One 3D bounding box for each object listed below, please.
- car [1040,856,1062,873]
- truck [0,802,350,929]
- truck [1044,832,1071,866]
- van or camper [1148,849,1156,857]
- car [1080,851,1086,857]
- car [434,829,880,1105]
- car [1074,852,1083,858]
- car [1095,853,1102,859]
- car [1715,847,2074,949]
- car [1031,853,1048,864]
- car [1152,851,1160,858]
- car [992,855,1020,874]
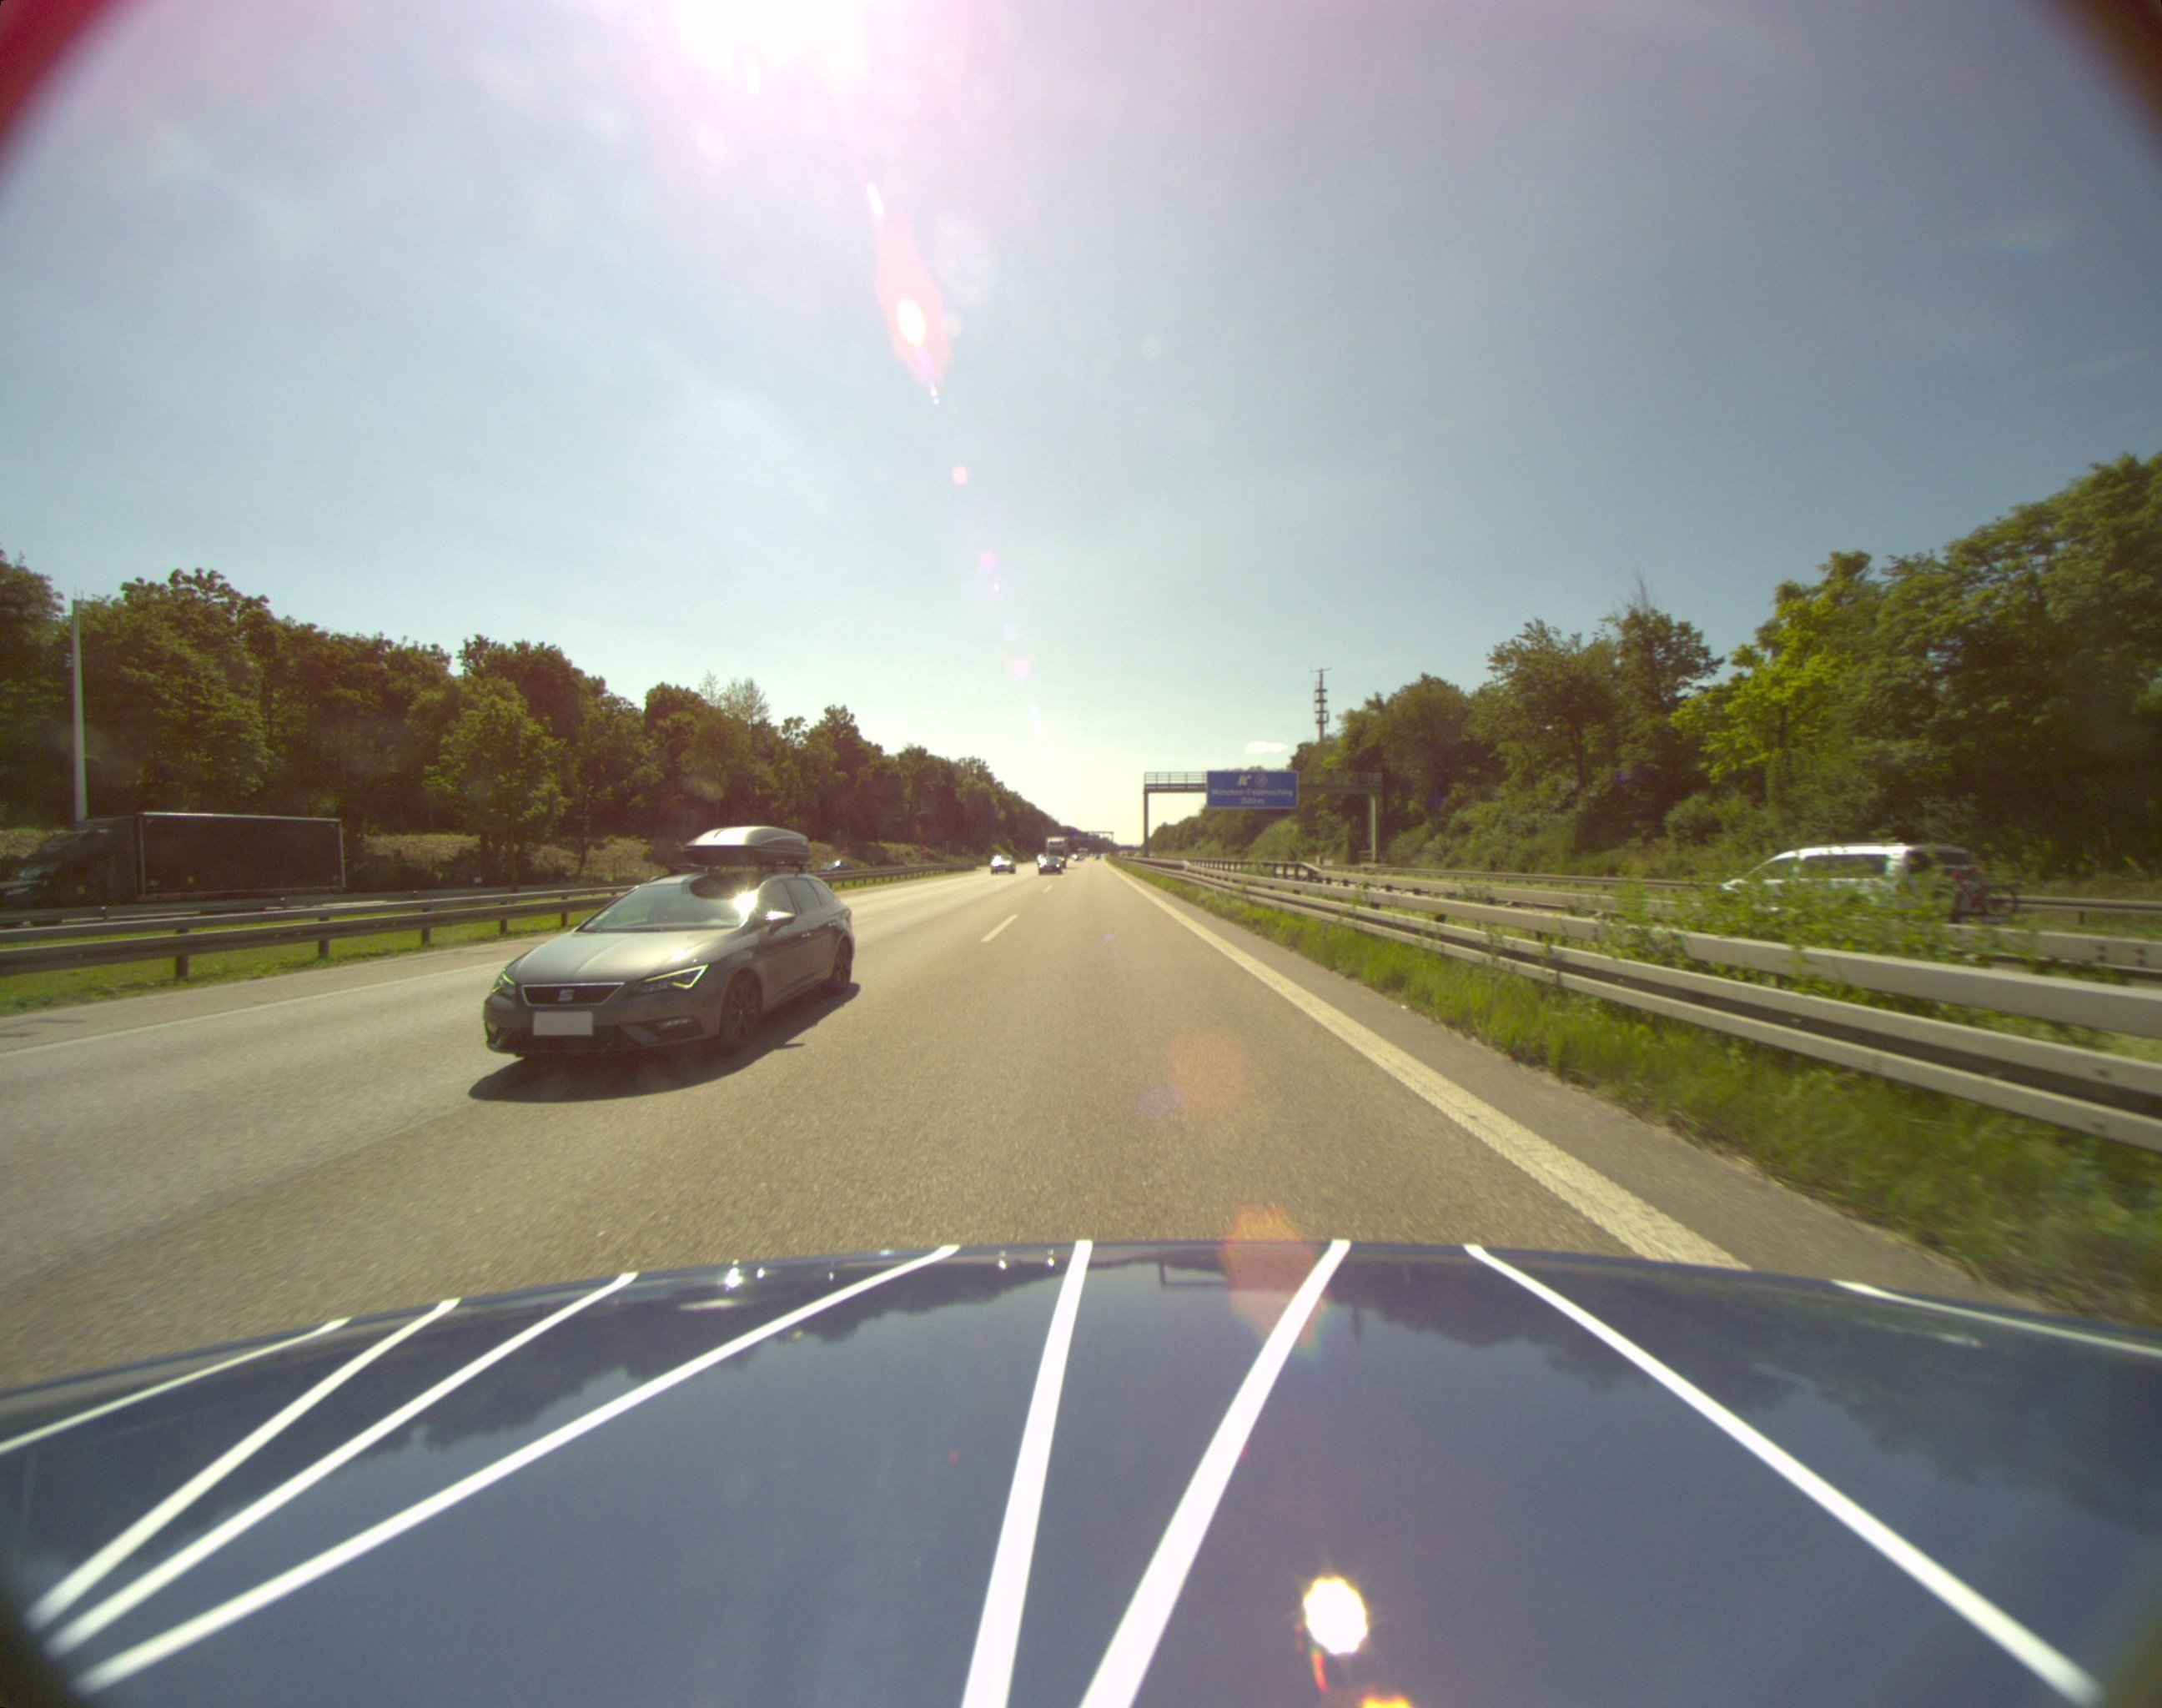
[{"bbox_3d":[-2.349,0.788,59.833,1.537,1.265,2.770,-1,0,2],"label":"car"},{"bbox_3d":[-34.108,0.355,28.481,3.290,3.924,9.359,0,0,12],"label":"truck"},{"bbox_3d":[-2.602,-0.509,85.732,2.676,3.660,6.484,-1,0,2],"label":"truck"},{"bbox_3d":[23.198,-0.235,249.035,2.043,2.545,6.198,1,0,1],"label":"van or camper"},{"bbox_3d":[0.539,-0.111,197.449,1.715,1.477,4.000,-1,0,1],"label":"car"},{"bbox_3d":[-3.509,0.764,7.558,1.669,1.865,4.827,0,0,1],"label":"car"},{"bbox_3d":[-0.541,0.207,166.191,1.831,1.346,3.680,0,0,2],"label":"car"},{"bbox_3d":[4.200,0.465,183.406,1.591,1.291,3.383,0,0,2],"label":"car"},{"bbox_3d":[17.094,0.791,16.555,1.999,1.824,5.332,2,0,-1],"label":"car"},{"bbox_3d":[-6.416,0.685,117.614,1.924,1.659,4.687,-2,0,4],"label":"car"},{"bbox_3d":[17.734,0.075,180.263,1.669,1.455,3.883,2,0,3],"label":"car"},{"bbox_3d":[-6.585,0.858,66.727,1.847,1.559,4.036,-2,0,2],"label":"car"}]
